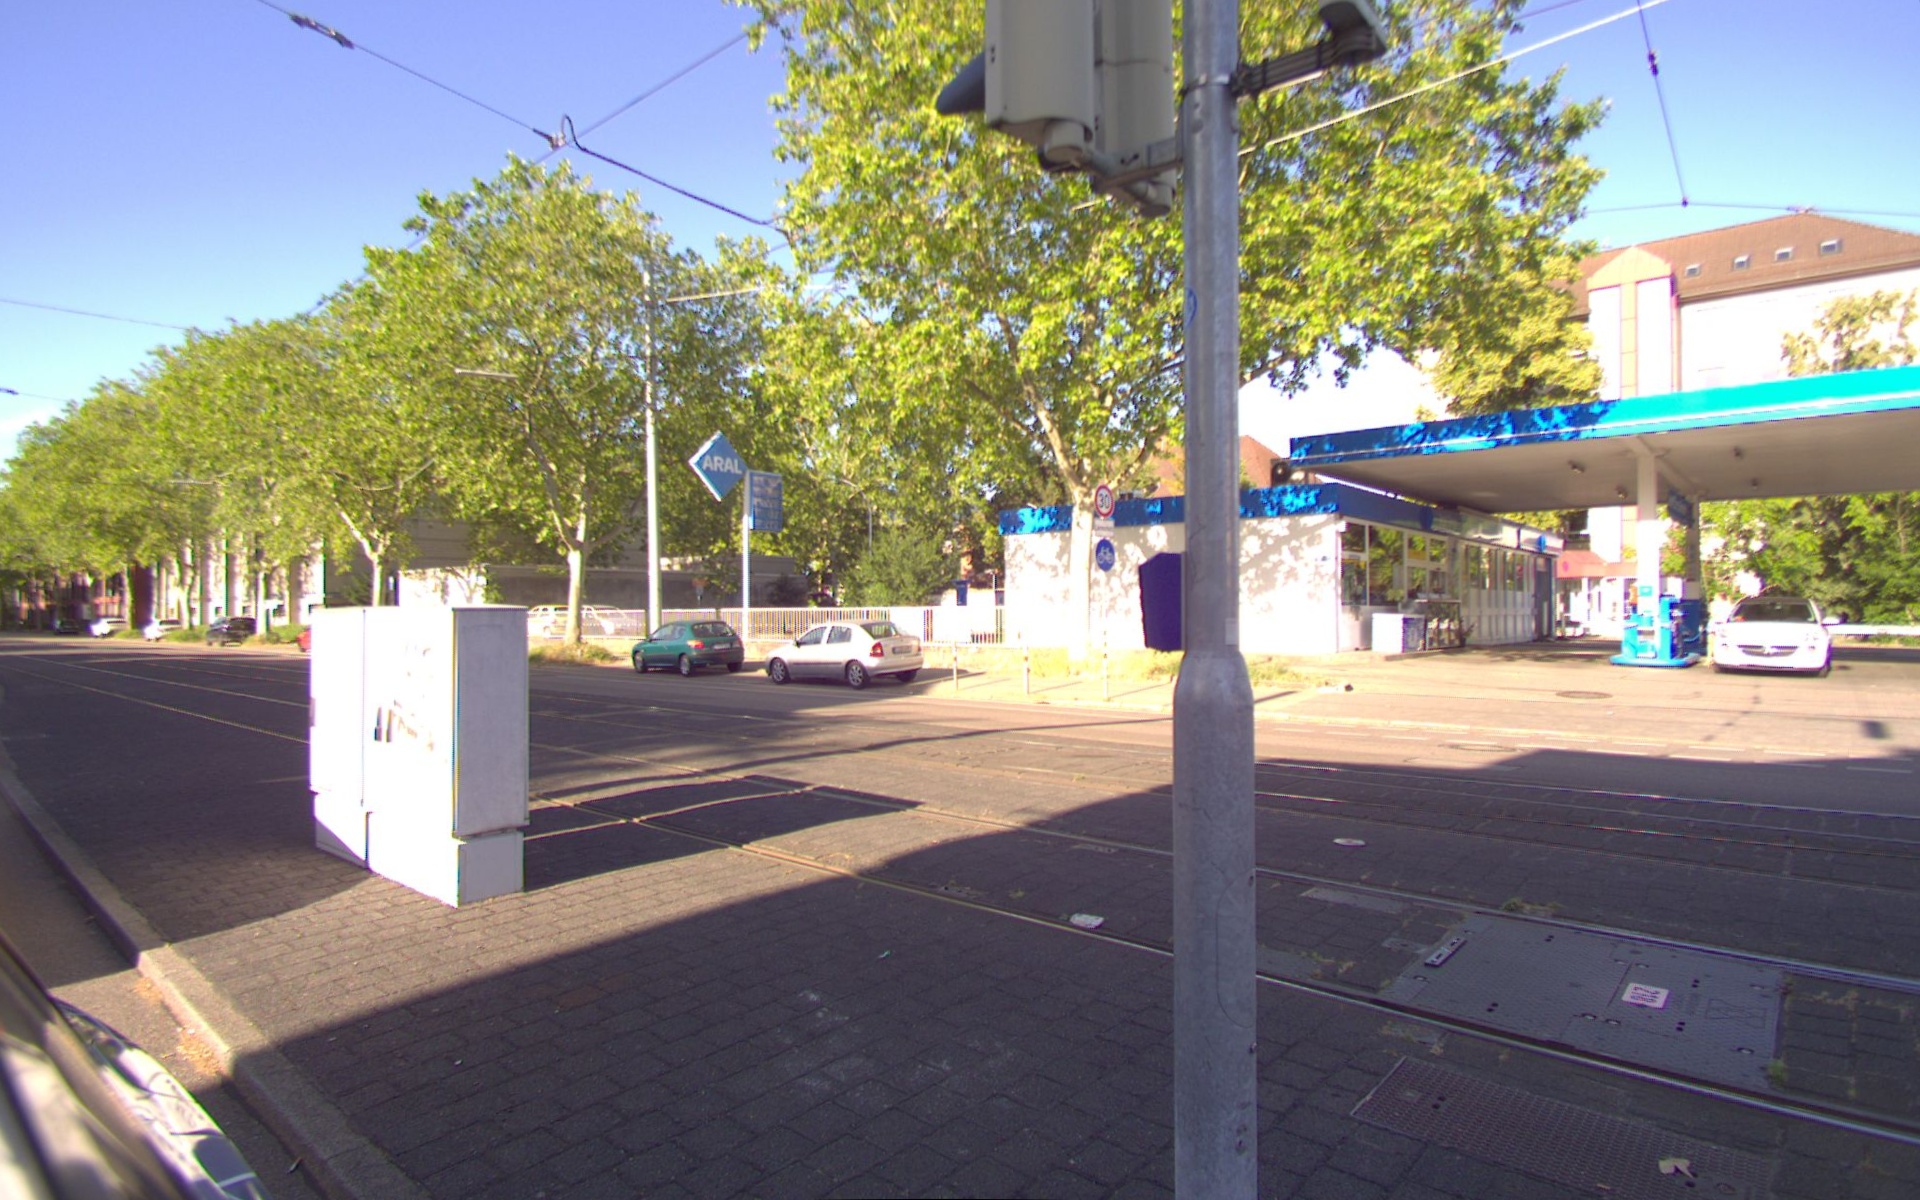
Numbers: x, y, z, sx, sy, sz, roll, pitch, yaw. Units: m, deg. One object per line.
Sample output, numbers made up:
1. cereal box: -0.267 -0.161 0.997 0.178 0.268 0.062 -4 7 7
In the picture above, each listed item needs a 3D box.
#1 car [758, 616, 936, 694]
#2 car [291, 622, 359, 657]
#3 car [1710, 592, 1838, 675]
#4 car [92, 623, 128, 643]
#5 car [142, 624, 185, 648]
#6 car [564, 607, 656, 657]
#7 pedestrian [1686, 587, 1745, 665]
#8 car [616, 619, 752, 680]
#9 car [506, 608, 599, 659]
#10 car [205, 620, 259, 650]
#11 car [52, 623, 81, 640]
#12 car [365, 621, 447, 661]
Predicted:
1. car: -2.571 1.164 22.602 3.857 1.497 1.823 -1 1 42
2. car: -28.909 1.770 46.052 3.858 1.440 1.695 -1 0 43
3. car: 15.943 0.612 19.787 1.793 1.453 3.946 -1 -1 40
4. car: -66.923 2.573 79.649 3.858 1.495 1.735 -1 0 43
5. car: -53.635 2.393 68.128 3.858 1.495 1.735 -1 0 43
6. car: -15.143 1.360 43.696 3.996 2.029 1.974 -1 -1 39
7. pedestrian: 16.143 0.552 21.625 0.799 1.642 0.649 0 -1 -21
8. car: -7.431 1.271 27.082 3.858 1.408 1.722 -1 1 43
9. car: -17.042 1.390 42.268 3.996 2.029 1.974 -1 -1 39
10. car: -40.673 1.951 56.492 3.858 1.557 1.735 -1 0 43
11. car: -84.869 3.005 96.124 3.858 1.495 1.735 -1 0 43
12. car: -21.982 1.584 40.097 3.858 1.468 1.735 -1 0 43
